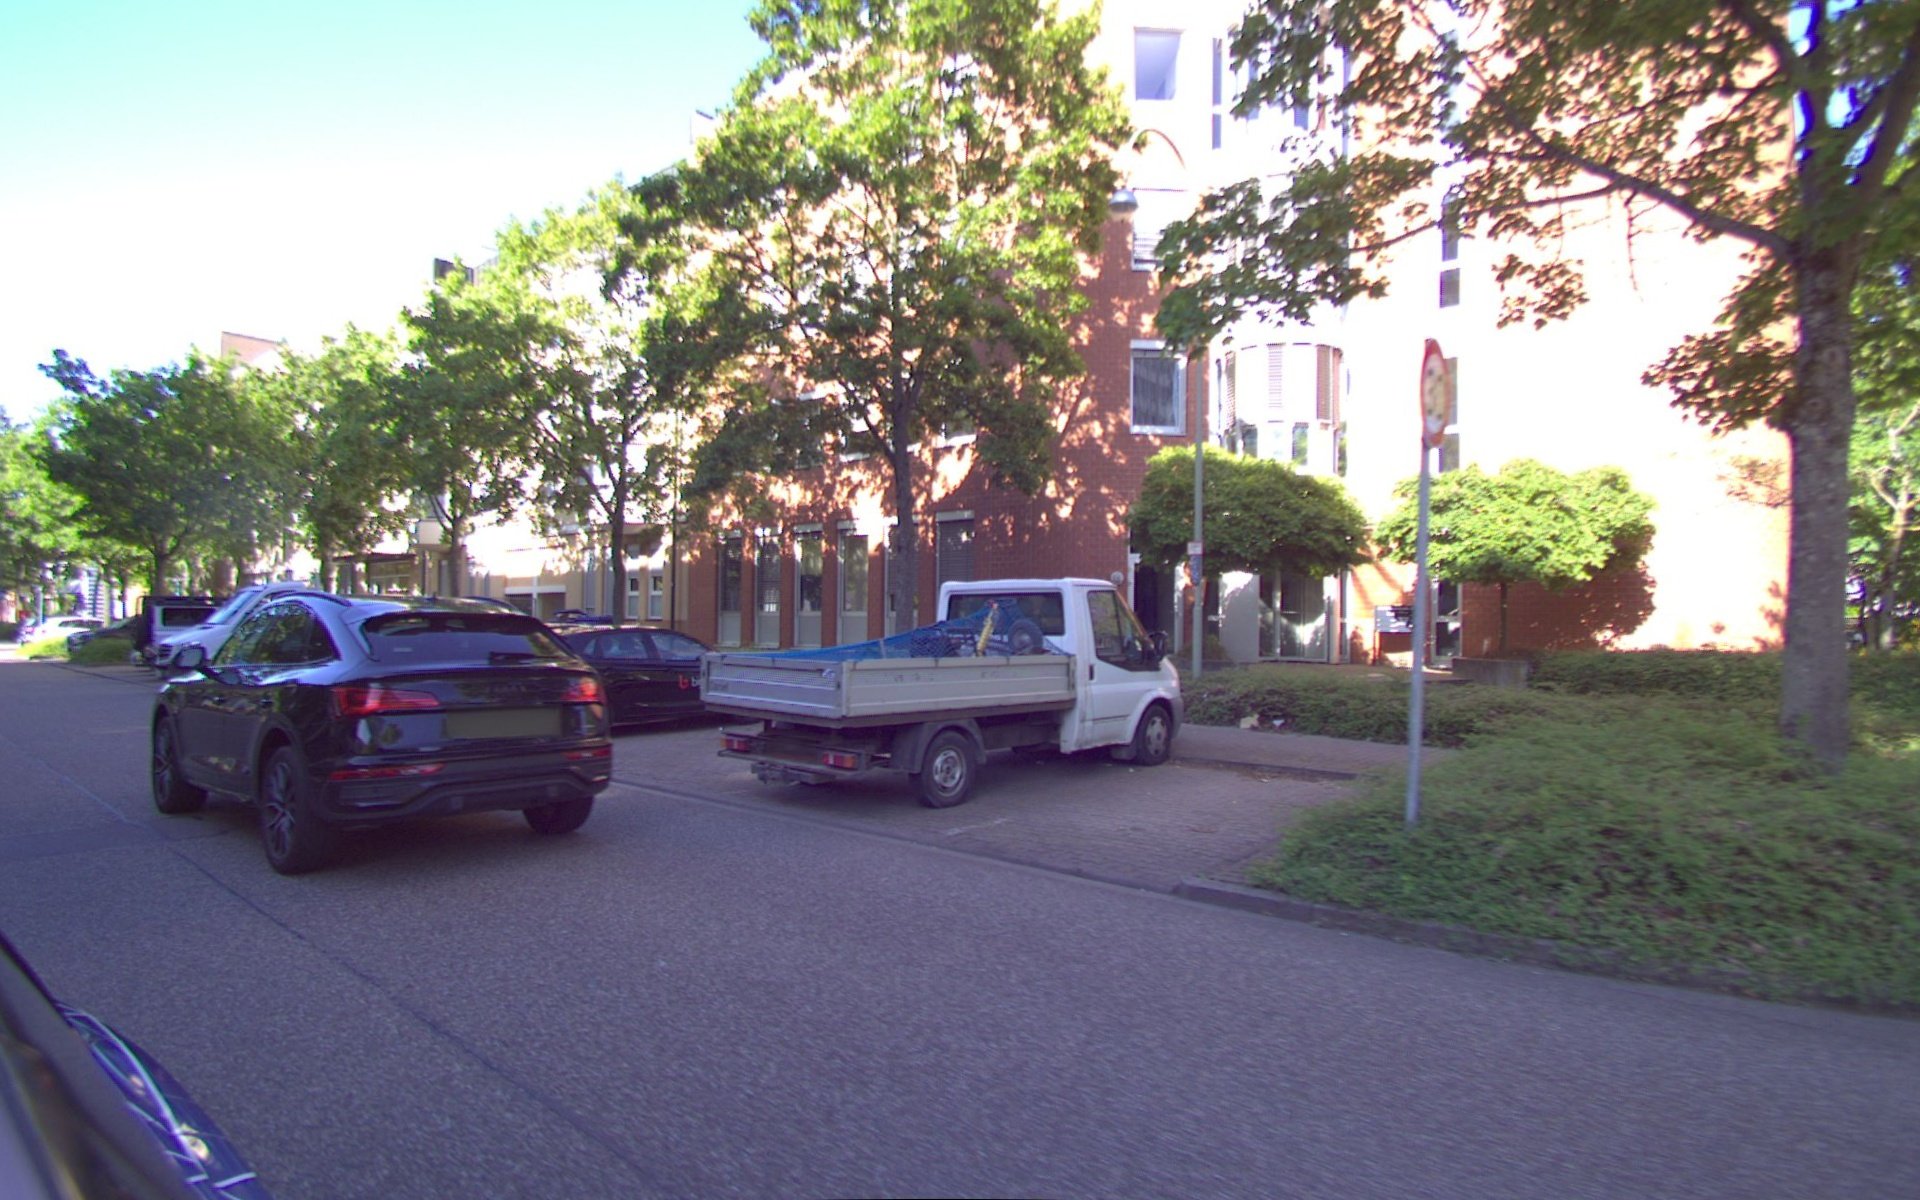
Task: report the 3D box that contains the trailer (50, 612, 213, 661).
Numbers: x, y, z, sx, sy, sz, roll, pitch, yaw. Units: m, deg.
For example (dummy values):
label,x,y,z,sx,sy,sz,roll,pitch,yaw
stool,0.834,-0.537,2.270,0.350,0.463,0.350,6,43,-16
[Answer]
label,x,y,z,sx,sy,sz,roll,pitch,yaw
trailer,-29.498,1.241,36.152,1.853,1.584,4.220,-1,0,37

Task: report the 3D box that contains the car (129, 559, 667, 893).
label,x,y,z,sx,sy,sz,roll,pitch,yaw
car,-4.198,0.685,7.265,4.348,1.697,1.873,-1,-2,39

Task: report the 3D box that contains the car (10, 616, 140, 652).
label,x,y,z,sx,sy,sz,roll,pitch,yaw
car,-38.806,1.442,44.455,1.800,1.413,4.109,-1,0,40

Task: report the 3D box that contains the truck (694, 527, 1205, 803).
label,x,y,z,sx,sy,sz,roll,pitch,yaw
truck,0.179,0.561,9.783,2.138,1.974,4.930,-1,-3,43

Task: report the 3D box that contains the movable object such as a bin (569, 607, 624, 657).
label,x,y,z,sx,sy,sz,roll,pitch,yaw
movable object such as a bin,-11.859,1.041,33.059,1.239,1.575,1.137,0,-2,29

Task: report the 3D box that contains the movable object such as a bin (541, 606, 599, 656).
label,x,y,z,sx,sy,sz,roll,pitch,yaw
movable object such as a bin,-12.994,1.026,33.717,1.436,1.632,1.137,0,-2,29

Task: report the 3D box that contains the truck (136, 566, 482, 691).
label,x,y,z,sx,sy,sz,roll,pitch,yaw
truck,-14.400,0.676,22.829,2.186,2.440,6.166,-1,-3,41

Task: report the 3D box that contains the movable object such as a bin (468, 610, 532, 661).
label,x,y,z,sx,sy,sz,roll,pitch,yaw
movable object such as a bin,-16.797,1.285,36.989,1.664,1.810,1.582,-1,-2,42

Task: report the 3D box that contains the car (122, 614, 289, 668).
label,x,y,z,sx,sy,sz,roll,pitch,yaw
car,-22.540,1.176,30.317,1.733,1.472,3.791,-1,-1,44

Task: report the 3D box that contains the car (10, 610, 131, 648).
label,x,y,z,sx,sy,sz,roll,pitch,yaw
car,-40.597,1.280,46.231,1.727,1.582,3.946,-1,1,40

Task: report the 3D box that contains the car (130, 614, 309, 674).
label,x,y,z,sx,sy,sz,roll,pitch,yaw
car,-20.444,1.157,28.030,1.832,1.504,3.738,-1,0,42

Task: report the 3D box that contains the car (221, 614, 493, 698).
label,x,y,z,sx,sy,sz,roll,pitch,yaw
car,-12.193,1.044,20.688,1.998,1.498,4.383,-1,-1,39

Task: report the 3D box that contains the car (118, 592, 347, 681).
label,x,y,z,sx,sy,sz,roll,pitch,yaw
car,-18.569,0.845,26.003,1.998,2.067,4.438,0,0,39

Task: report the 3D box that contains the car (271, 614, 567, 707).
label,x,y,z,sx,sy,sz,roll,pitch,yaw
car,-9.911,1.036,18.847,1.888,1.453,4.496,-2,-1,39

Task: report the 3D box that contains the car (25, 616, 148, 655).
label,x,y,z,sx,sy,sz,roll,pitch,yaw
car,-36.636,1.447,42.507,1.753,1.463,3.716,-1,0,40

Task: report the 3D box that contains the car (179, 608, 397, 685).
label,x,y,z,sx,sy,sz,roll,pitch,yaw
car,-16.314,1.049,24.725,1.999,1.674,4.065,0,0,40

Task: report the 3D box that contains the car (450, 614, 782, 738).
label,x,y,z,sx,sy,sz,roll,pitch,yaw
car,-4.600,0.935,13.919,1.790,1.446,3.941,-1,-2,45
